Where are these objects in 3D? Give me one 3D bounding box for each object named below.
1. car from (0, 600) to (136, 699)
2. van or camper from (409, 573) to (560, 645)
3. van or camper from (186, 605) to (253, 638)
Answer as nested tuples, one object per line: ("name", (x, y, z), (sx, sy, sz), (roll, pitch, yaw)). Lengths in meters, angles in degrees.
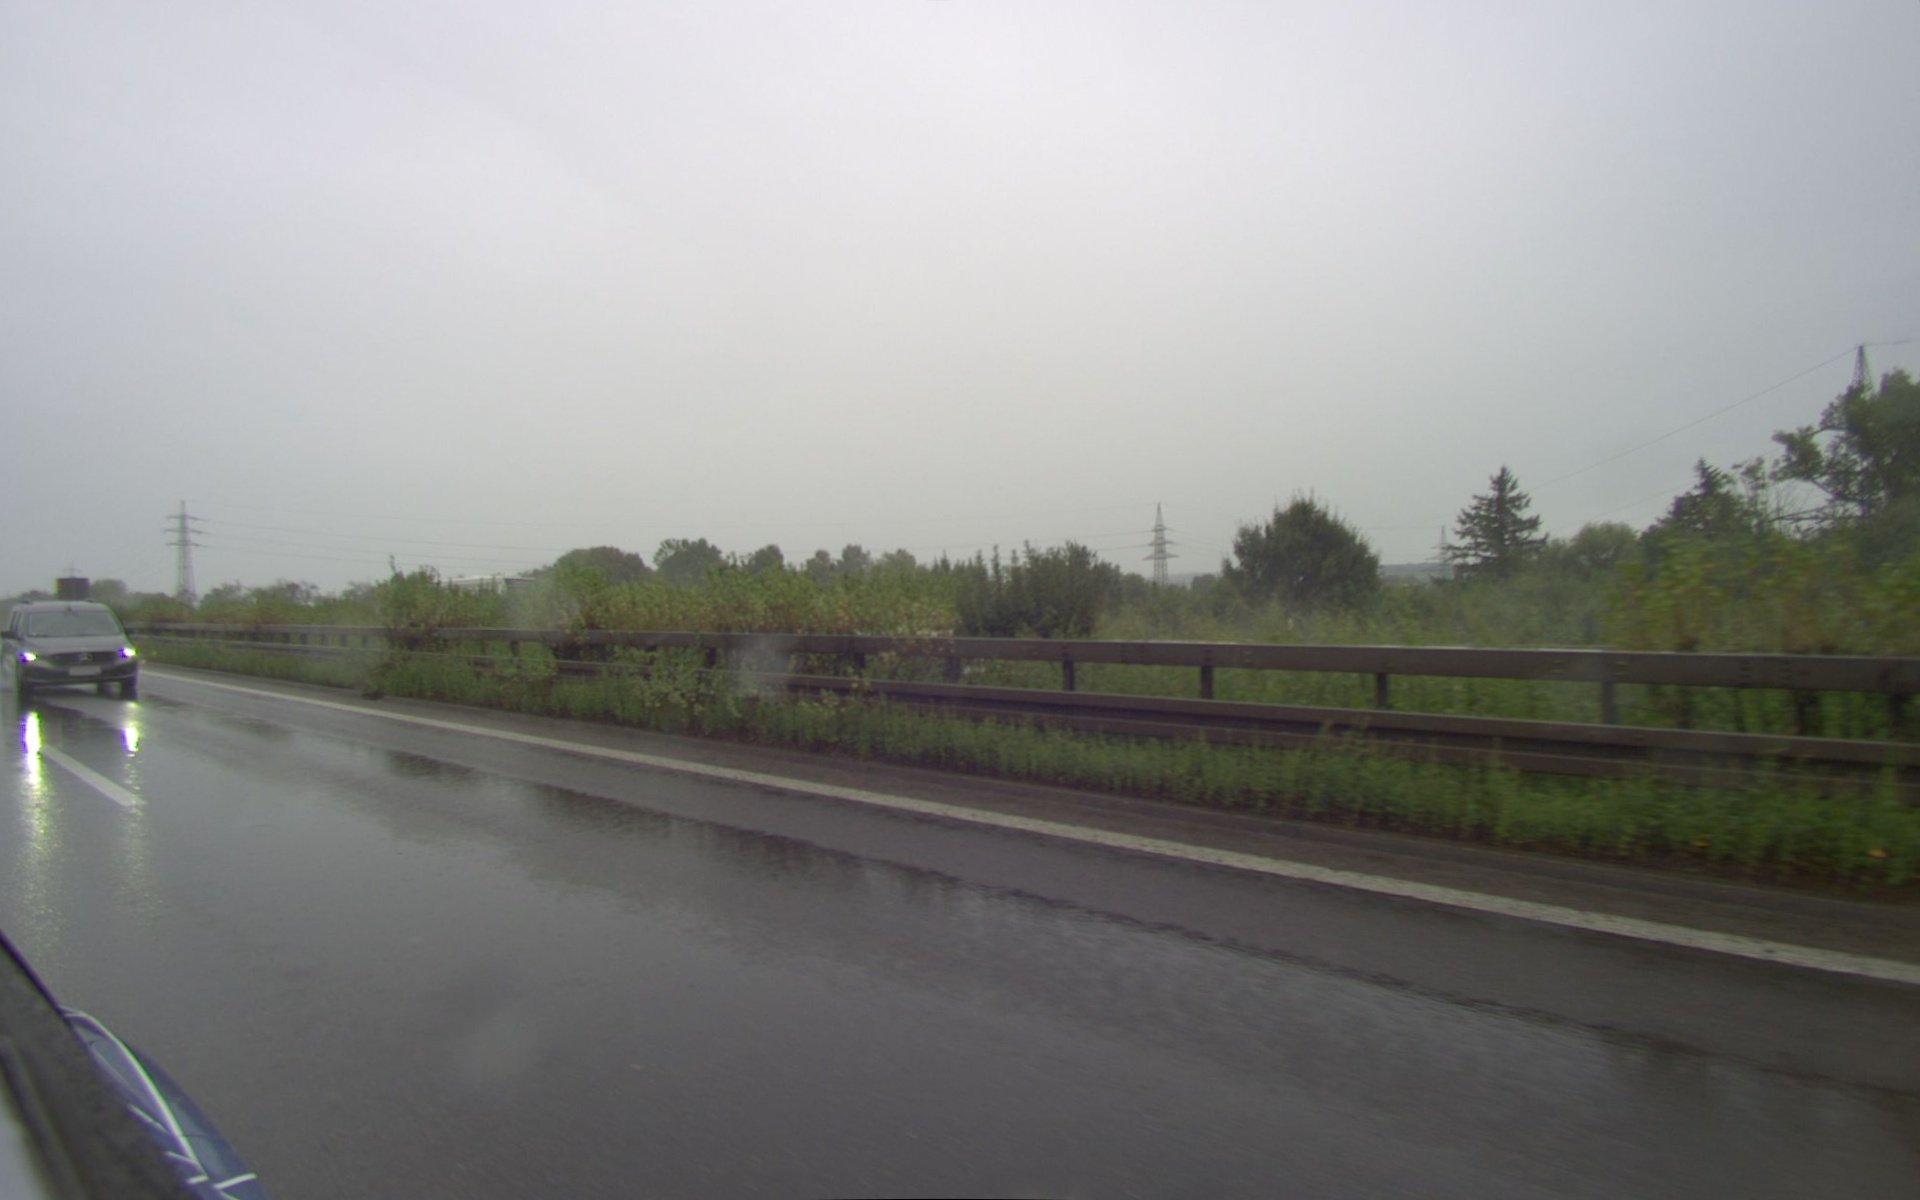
("car", (-18.276, 0.932, 20.466), (4.502, 1.787, 2.019), (-1, -1, 44))
("van or camper", (-22.579, 0.456, 47.727), (9.510, 3.109, 2.857), (-1, 0, 41))
("van or camper", (-57.148, 1.699, 78.070), (7.335, 2.292, 2.578), (-2, 2, 42))
